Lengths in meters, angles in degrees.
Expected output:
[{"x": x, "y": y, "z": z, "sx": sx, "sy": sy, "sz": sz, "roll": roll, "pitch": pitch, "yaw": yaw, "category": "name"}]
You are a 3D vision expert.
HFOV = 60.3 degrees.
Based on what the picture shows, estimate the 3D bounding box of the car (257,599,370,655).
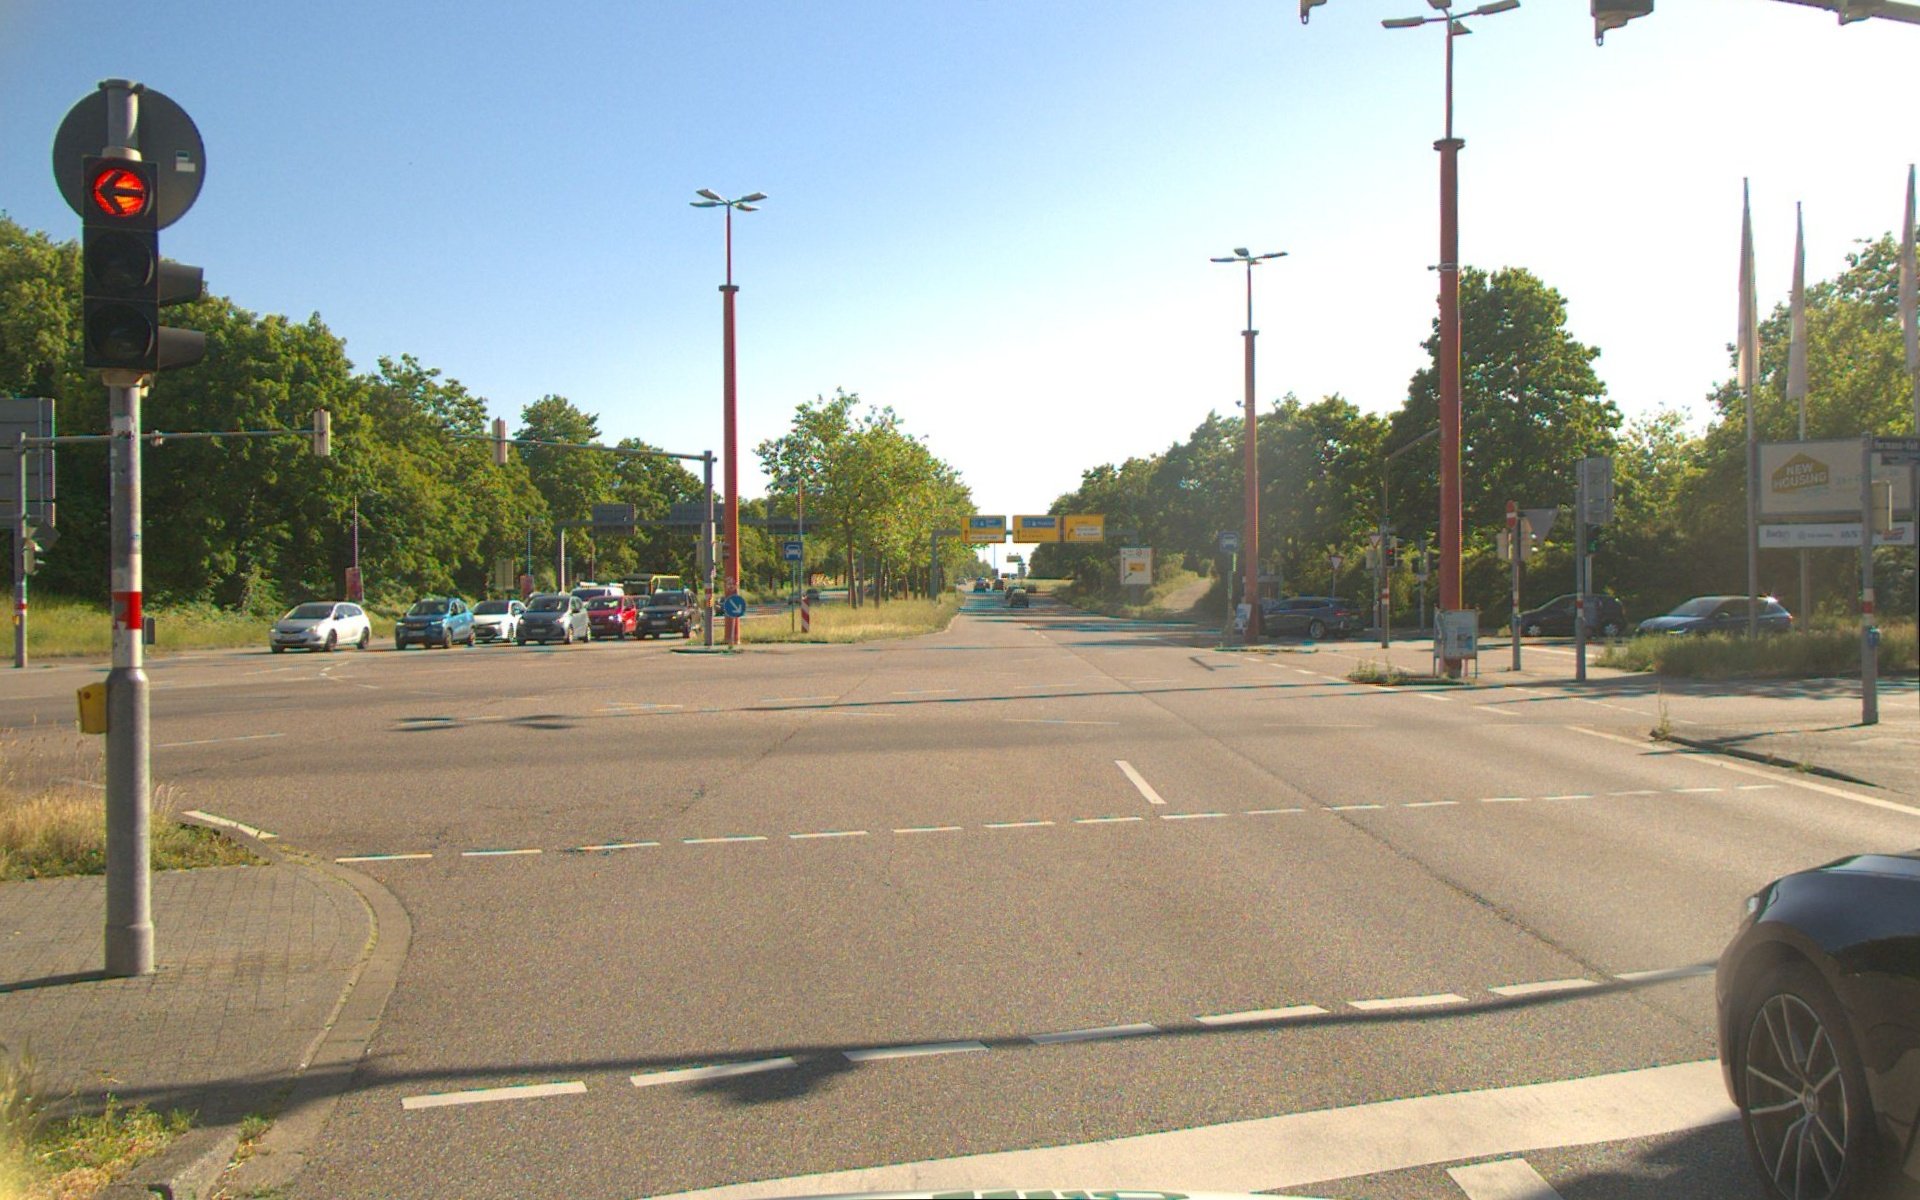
[{"x": -19.588, "y": 0.788, "z": 50.295, "sx": 1.954, "sy": 1.601, "sz": 4.118, "roll": 0, "pitch": 0, "yaw": -3, "category": "car"}]

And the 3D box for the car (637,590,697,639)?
[{"x": -9.875, "y": 0.474, "z": 55.988, "sx": 1.841, "sy": 1.601, "sz": 4.113, "roll": 0, "pitch": 0, "yaw": -8, "category": "car"}]

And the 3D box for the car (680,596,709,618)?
[{"x": -20.050, "y": 0.532, "z": 124.915, "sx": 1.840, "sy": 1.601, "sz": 4.116, "roll": 0, "pitch": 0, "yaw": -5, "category": "car"}]

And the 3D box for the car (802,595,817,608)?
[{"x": -18.571, "y": 0.132, "z": 204.329, "sx": 1.840, "sy": 1.601, "sz": 4.116, "roll": 0, "pitch": 0, "yaw": -5, "category": "car"}]

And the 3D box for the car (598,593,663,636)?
[{"x": -12.713, "y": 0.530, "z": 64.044, "sx": 1.954, "sy": 1.601, "sz": 4.117, "roll": 0, "pitch": 0, "yaw": -4, "category": "car"}]

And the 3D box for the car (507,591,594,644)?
[{"x": -12.806, "y": 0.524, "z": 51.962, "sx": 1.954, "sy": 1.601, "sz": 4.118, "roll": 0, "pitch": 0, "yaw": -4, "category": "car"}]

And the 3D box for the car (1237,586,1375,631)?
[{"x": 12.674, "y": 0.304, "z": 60.698, "sx": 4.496, "sy": 1.601, "sz": 2.155, "roll": 0, "pitch": 0, "yaw": 39, "category": "car"}]

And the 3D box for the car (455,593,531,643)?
[{"x": -15.992, "y": 0.599, "z": 56.781, "sx": 1.956, "sy": 1.601, "sz": 4.113, "roll": -1, "pitch": 0, "yaw": -8, "category": "car"}]

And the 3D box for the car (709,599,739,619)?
[{"x": -17.901, "y": 0.662, "z": 125.430, "sx": 1.784, "sy": 1.480, "sz": 3.656, "roll": 0, "pitch": 0, "yaw": 0, "category": "car"}]

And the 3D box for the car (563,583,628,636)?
[{"x": -15.673, "y": 0.389, "z": 71.262, "sx": 2.021, "sy": 2.231, "sz": 4.376, "roll": 0, "pitch": 0, "yaw": -3, "category": "car"}]

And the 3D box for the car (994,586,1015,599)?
[{"x": 5.448, "y": -0.936, "z": 201.988, "sx": 2.116, "sy": 1.601, "sz": 4.277, "roll": 0, "pitch": 0, "yaw": -4, "category": "car"}]

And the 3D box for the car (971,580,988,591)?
[{"x": 2.955, "y": -2.128, "z": 249.955, "sx": 2.202, "sy": 1.601, "sz": 4.276, "roll": 0, "pitch": 0, "yaw": -5, "category": "car"}]

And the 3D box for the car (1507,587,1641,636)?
[{"x": 20.775, "y": 0.381, "z": 56.134, "sx": 4.177, "sy": 1.601, "sz": 2.167, "roll": 0, "pitch": 0, "yaw": 19, "category": "car"}]

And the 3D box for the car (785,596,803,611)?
[{"x": -18.038, "y": 0.321, "z": 179.981, "sx": 1.840, "sy": 1.601, "sz": 3.943, "roll": 0, "pitch": 0, "yaw": -5, "category": "car"}]

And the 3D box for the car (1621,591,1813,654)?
[{"x": 18.698, "y": 0.530, "z": 40.878, "sx": 4.202, "sy": 1.453, "sz": 1.874, "roll": 0, "pitch": 0, "yaw": -19, "category": "car"}]

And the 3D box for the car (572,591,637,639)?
[{"x": -12.480, "y": 0.509, "z": 58.268, "sx": 1.956, "sy": 1.601, "sz": 4.113, "roll": 0, "pitch": 0, "yaw": -8, "category": "car"}]

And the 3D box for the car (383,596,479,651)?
[{"x": -16.209, "y": 0.684, "z": 50.888, "sx": 1.955, "sy": 1.601, "sz": 4.116, "roll": 0, "pitch": 0, "yaw": -5, "category": "car"}]

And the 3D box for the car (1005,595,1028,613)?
[{"x": 5.438, "y": 0.369, "z": 158.604, "sx": 2.114, "sy": 1.601, "sz": 4.281, "roll": 0, "pitch": 0, "yaw": 1, "category": "car"}]

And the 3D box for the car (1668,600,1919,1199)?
[{"x": 2.973, "y": 0.713, "z": 2.358, "sx": 1.953, "sy": 1.419, "sz": 4.476, "roll": 0, "pitch": 0, "yaw": -1, "category": "car"}]
